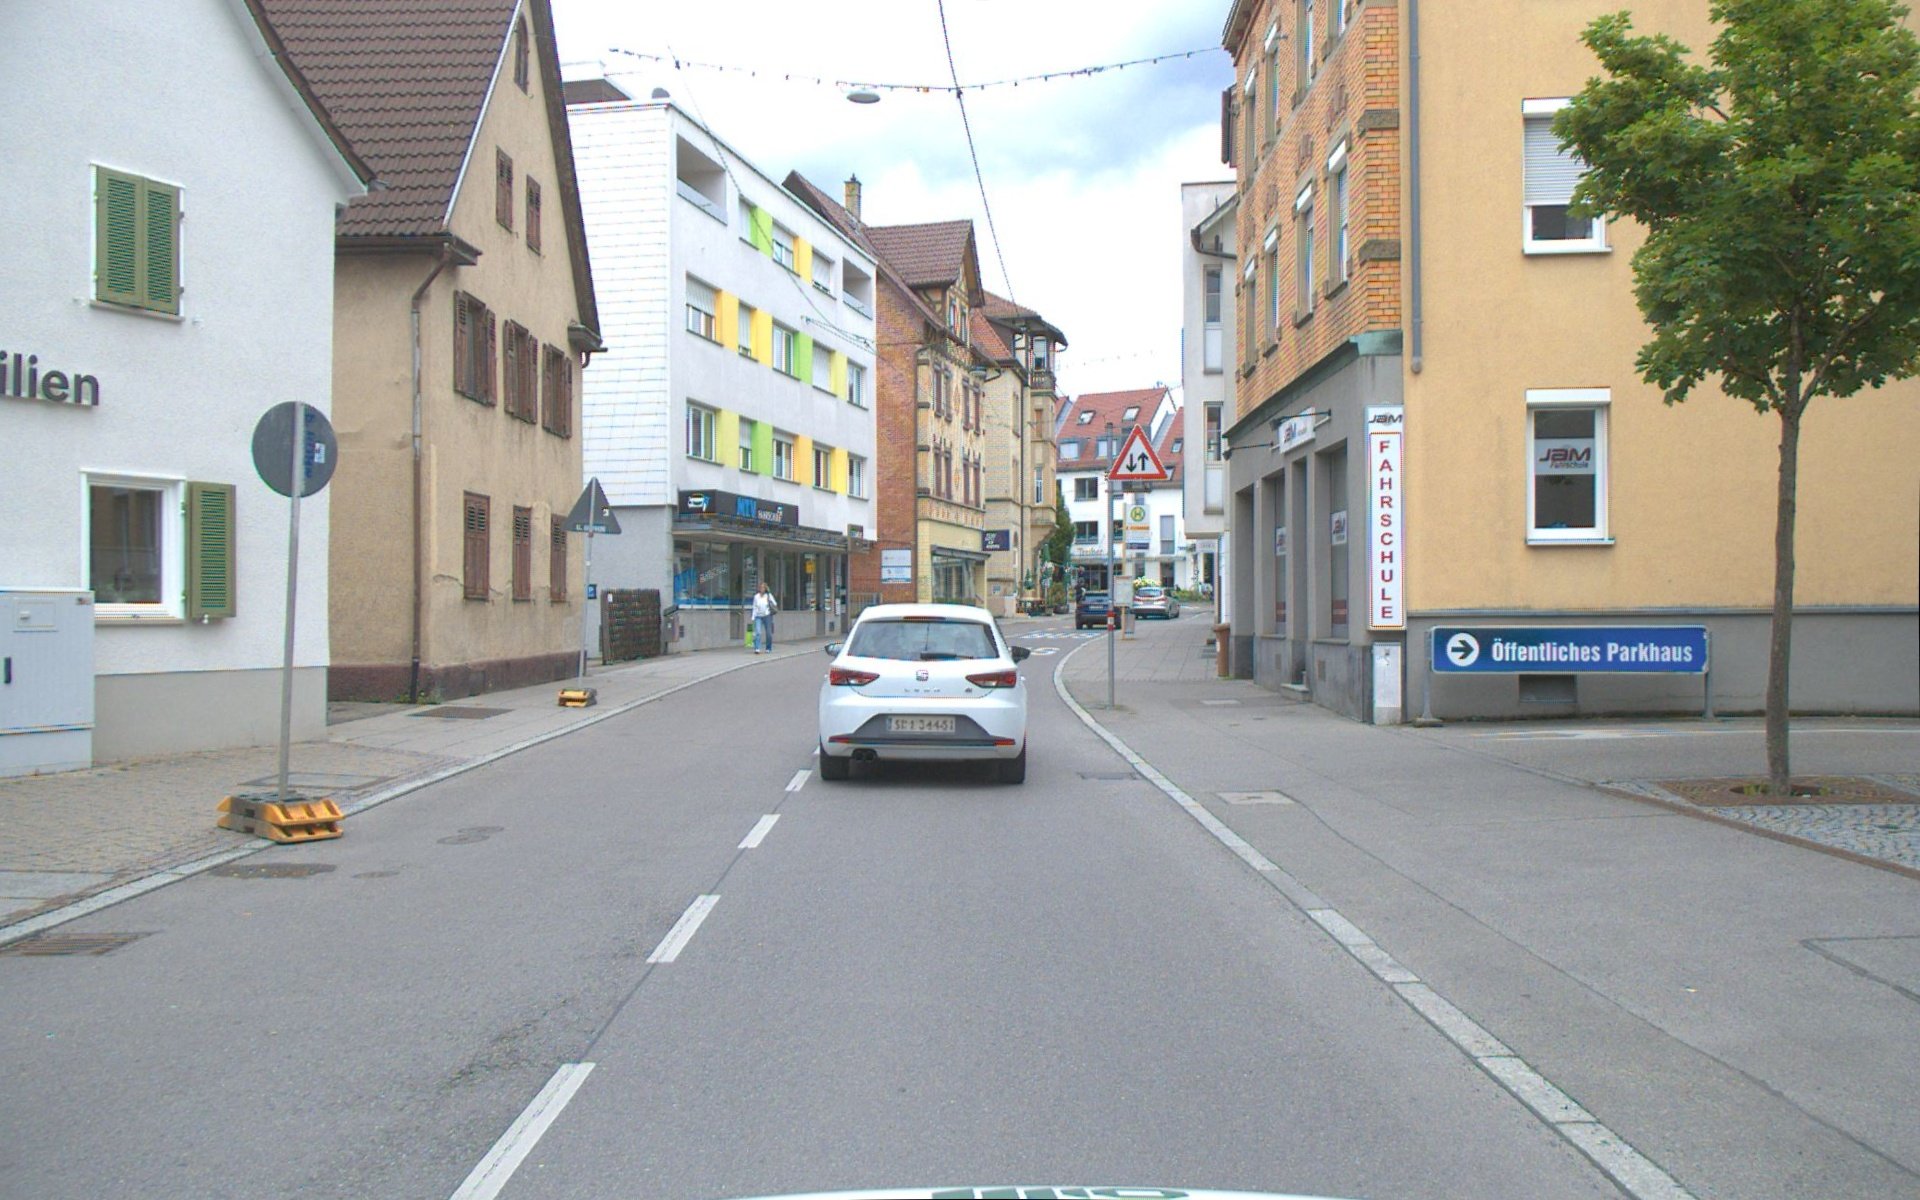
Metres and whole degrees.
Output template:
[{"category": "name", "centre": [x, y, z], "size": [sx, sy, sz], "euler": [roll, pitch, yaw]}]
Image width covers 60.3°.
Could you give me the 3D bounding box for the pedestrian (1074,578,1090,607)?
[{"category": "pedestrian", "centre": [6.509, -0.397, 88.341], "size": [0.816, 1.579, 0.628], "euler": [0, 0, 6]}]

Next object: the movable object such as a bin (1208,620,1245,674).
[{"category": "movable object such as a bin", "centre": [4.719, 0.831, 29.286], "size": [0.606, 0.937, 0.582], "euler": [0, 0, 5]}]

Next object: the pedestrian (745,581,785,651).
[{"category": "pedestrian", "centre": [-4.749, 0.383, 40.346], "size": [0.874, 1.694, 0.861], "euler": [-1, 0, -2]}]

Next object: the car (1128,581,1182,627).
[{"category": "car", "centre": [9.059, 0.155, 76.546], "size": [1.951, 2.049, 4.003], "euler": [0, 0, 14]}]

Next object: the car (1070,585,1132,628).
[{"category": "car", "centre": [5.302, 0.233, 62.030], "size": [1.773, 1.506, 3.874], "euler": [0, 1, 13]}]

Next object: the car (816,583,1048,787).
[{"category": "car", "centre": [-0.166, 0.637, 14.713], "size": [1.774, 1.506, 3.872], "euler": [1, 1, 1]}]
